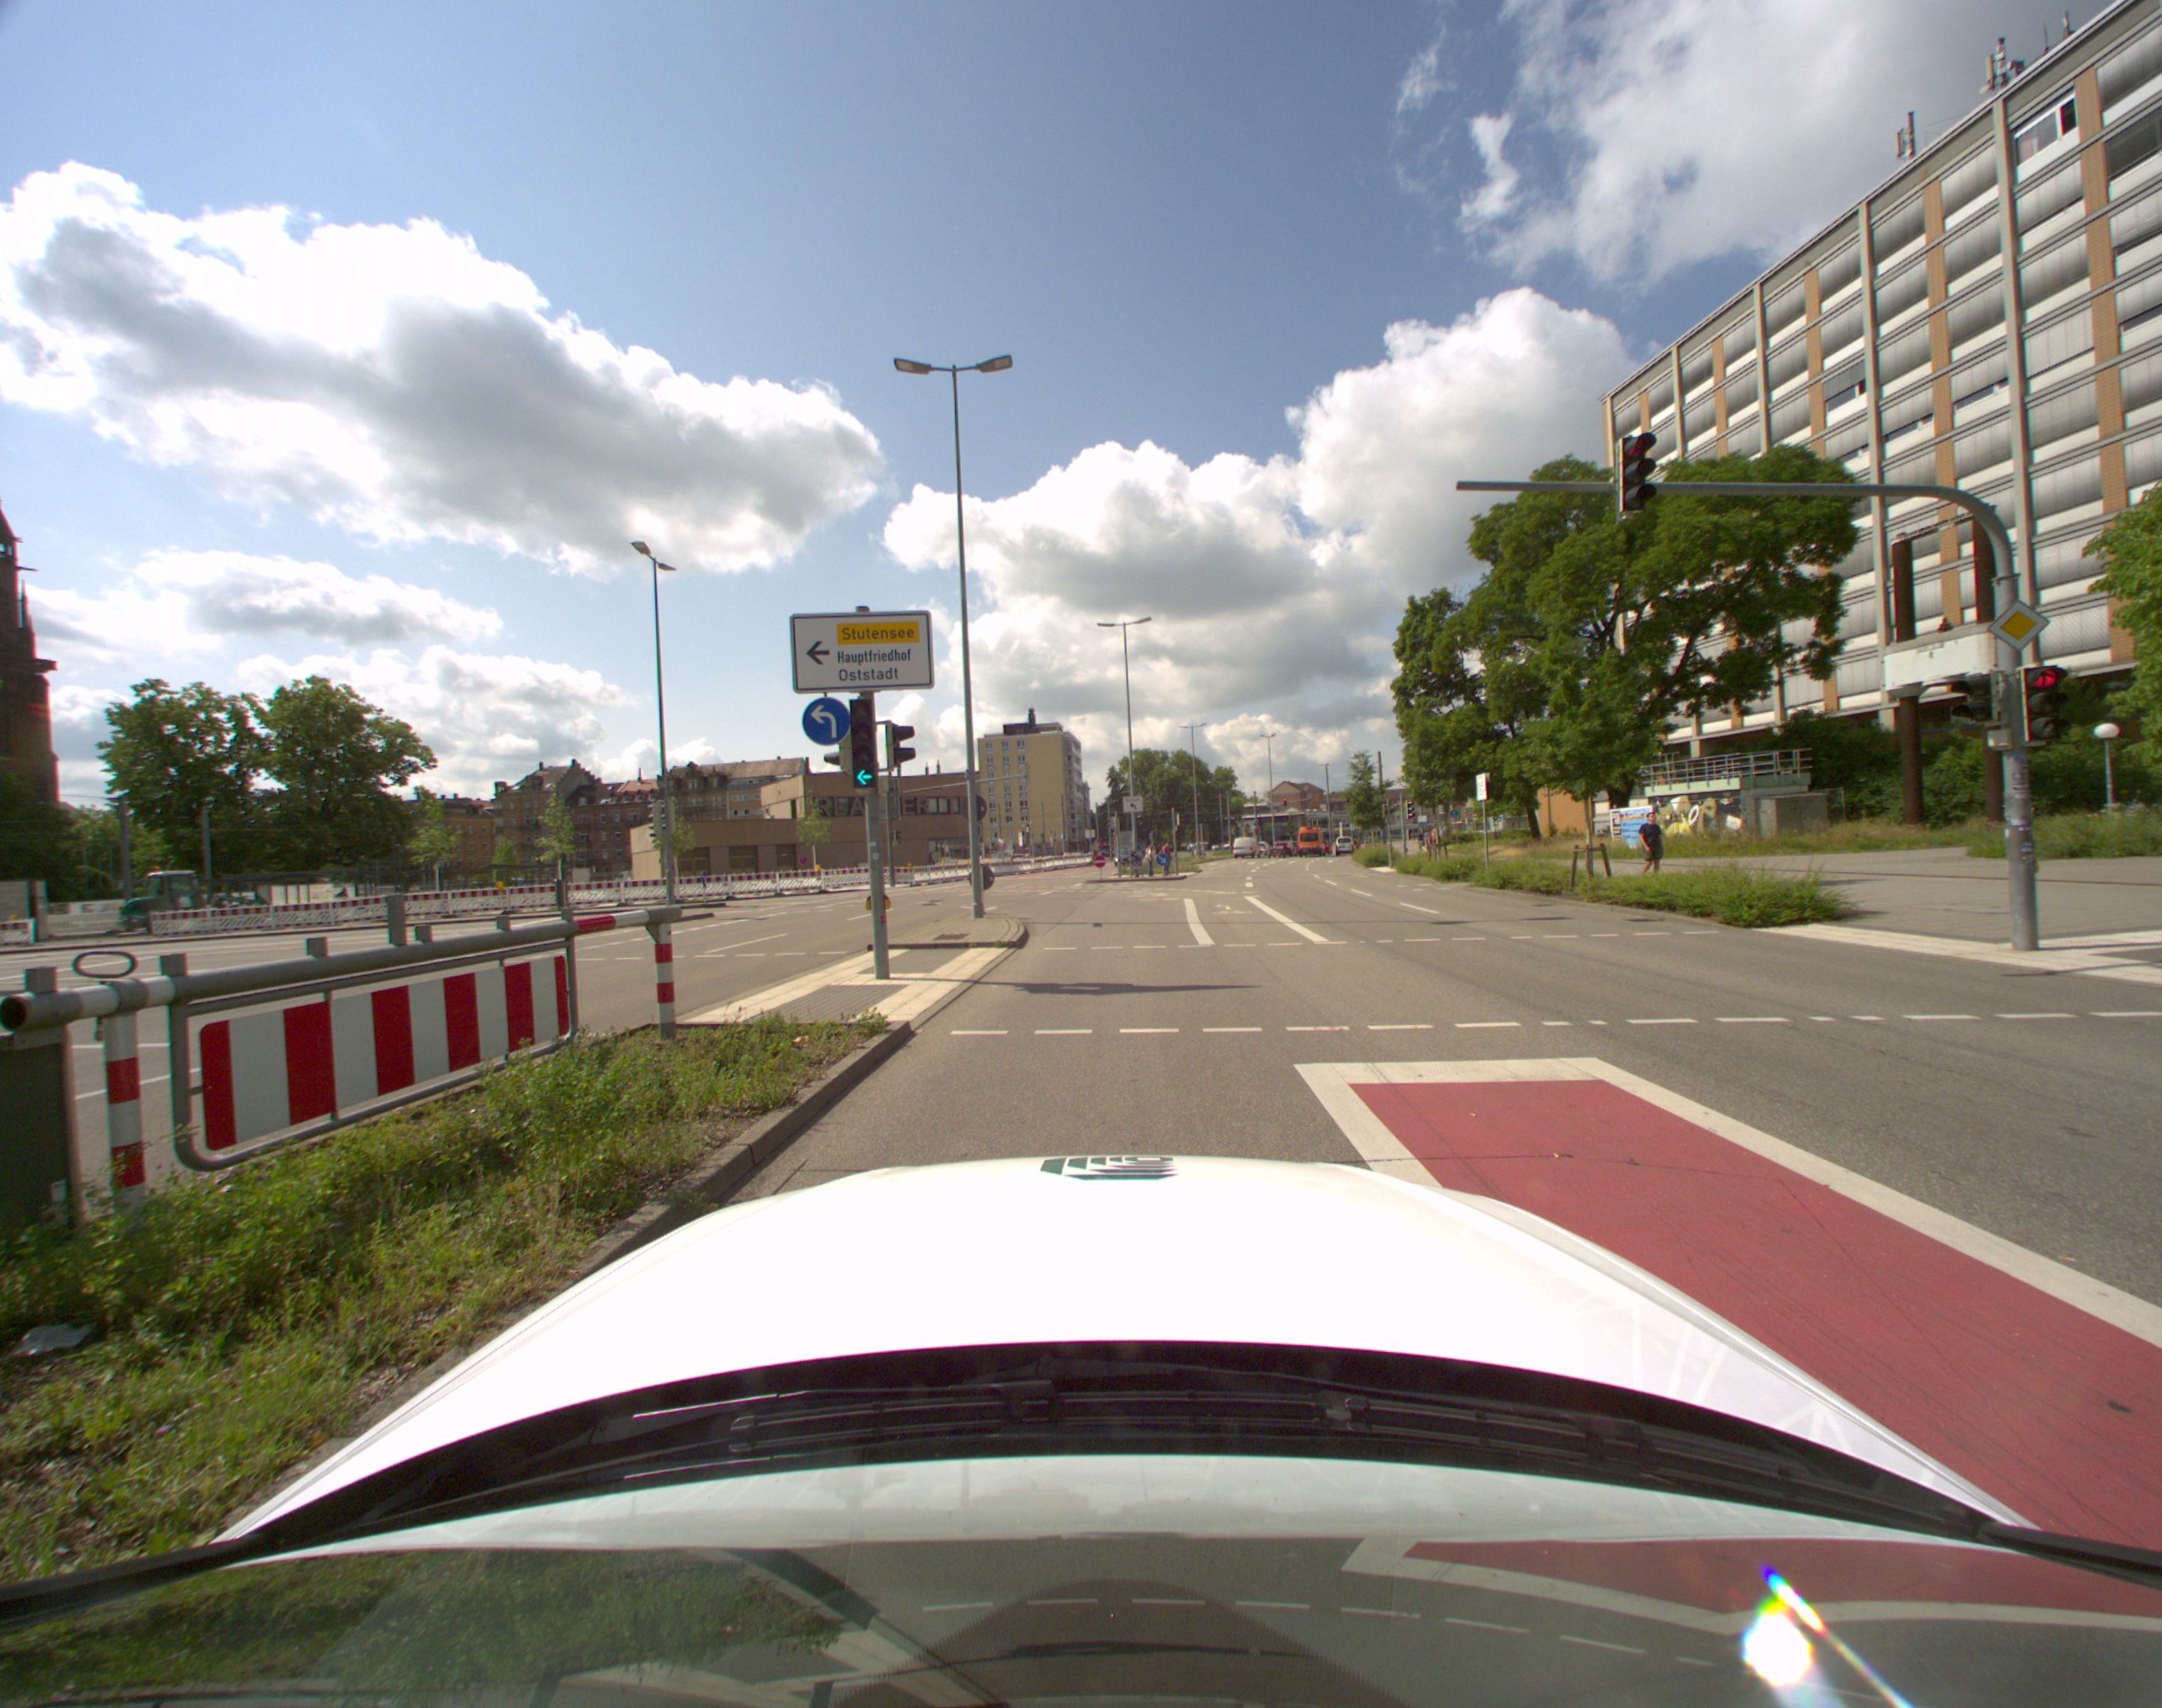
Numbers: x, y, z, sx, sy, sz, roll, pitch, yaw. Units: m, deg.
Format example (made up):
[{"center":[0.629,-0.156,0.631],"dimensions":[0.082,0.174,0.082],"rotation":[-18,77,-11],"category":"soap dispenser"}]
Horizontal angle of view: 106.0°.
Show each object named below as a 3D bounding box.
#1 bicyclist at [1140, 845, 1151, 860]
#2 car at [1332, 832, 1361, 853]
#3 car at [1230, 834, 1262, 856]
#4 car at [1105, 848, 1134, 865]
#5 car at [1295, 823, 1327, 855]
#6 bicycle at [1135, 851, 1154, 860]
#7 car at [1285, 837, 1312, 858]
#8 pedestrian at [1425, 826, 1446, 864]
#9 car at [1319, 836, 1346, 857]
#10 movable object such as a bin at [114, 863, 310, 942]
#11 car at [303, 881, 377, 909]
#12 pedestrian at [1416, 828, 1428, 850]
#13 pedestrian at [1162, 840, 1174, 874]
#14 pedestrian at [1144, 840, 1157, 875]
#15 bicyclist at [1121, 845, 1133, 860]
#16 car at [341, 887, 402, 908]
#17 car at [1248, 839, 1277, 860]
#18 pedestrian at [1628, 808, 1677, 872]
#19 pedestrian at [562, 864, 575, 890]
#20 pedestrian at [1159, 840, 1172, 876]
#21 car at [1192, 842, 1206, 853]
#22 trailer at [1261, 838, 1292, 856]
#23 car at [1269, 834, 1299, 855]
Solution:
[{"center":[8.558,-0.243,107.815],"dimensions":[1.209,1.909,0.838],"rotation":[-3,0,20],"category":"bicyclist"},{"center":[25.199,-1.082,77.213],"dimensions":[1.975,1.795,4.024],"rotation":[-4,0,25],"category":"car"},{"center":[15.937,-0.904,78.424],"dimensions":[1.987,1.966,4.665],"rotation":[-4,0,24],"category":"car"},{"center":[3.492,0.221,72.954],"dimensions":[1.780,1.388,4.242],"rotation":[-3,0,13],"category":"car"},{"center":[21.518,-1.443,76.156],"dimensions":[2.111,2.780,4.665],"rotation":[-4,0,24],"category":"car"},{"center":[8.401,0.193,107.882],"dimensions":[2.359,1.066,0.847],"rotation":[-3,0,20],"category":"bicycle"},{"center":[22.845,-0.684,85.340],"dimensions":[1.973,1.938,4.665],"rotation":[-4,0,24],"category":"car"},{"center":[16.286,-0.417,37.427],"dimensions":[0.656,1.733,0.579],"rotation":[-3,0,7],"category":"pedestrian"},{"center":[25.967,-0.777,84.038],"dimensions":[1.973,1.938,4.665],"rotation":[-4,0,24],"category":"car"},{"center":[-37.356,1.994,35.252],"dimensions":[2.259,2.884,5.577],"rotation":[-3,0,43],"category":"movable object such as a bin"},{"center":[-58.932,3.218,64.839],"dimensions":[4.201,1.881,1.782],"rotation":[-3,0,-39],"category":"car"},{"center":[28.307,-1.260,67.578],"dimensions":[0.780,1.784,0.671],"rotation":[-3,0,32],"category":"pedestrian"},{"center":[4.478,0.154,42.011],"dimensions":[0.521,1.684,0.625],"rotation":[-3,0,9],"category":"pedestrian"},{"center":[3.488,0.177,40.958],"dimensions":[0.521,1.733,0.625],"rotation":[-3,0,9],"category":"pedestrian"},{"center":[5.903,-0.194,103.648],"dimensions":[1.209,1.909,0.863],"rotation":[-3,0,20],"category":"bicyclist"},{"center":[-73.104,4.459,83.963],"dimensions":[4.385,1.793,1.766],"rotation":[-3,0,-30],"category":"car"},{"center":[19.141,-0.510,85.571],"dimensions":[1.973,1.938,4.665],"rotation":[-4,0,24],"category":"car"},{"center":[14.028,-0.347,19.995],"dimensions":[0.766,1.508,0.553],"rotation":[-3,0,5],"category":"pedestrian"},{"center":[-40.708,1.802,64.680],"dimensions":[0.706,2.013,0.549],"rotation":[-3,0,-39],"category":"pedestrian"},{"center":[4.135,0.179,39.935],"dimensions":[0.521,1.733,0.625],"rotation":[-3,0,9],"category":"pedestrian"},{"center":[16.014,-0.917,110.422],"dimensions":[1.654,1.480,4.067],"rotation":[0,1,5],"category":"car"},{"center":[18.196,-0.635,75.694],"dimensions":[1.975,1.477,4.024],"rotation":[-4,0,25],"category":"trailer"},{"center":[19.689,-0.939,78.828],"dimensions":[1.975,1.826,4.024],"rotation":[-4,0,25],"category":"car"}]
